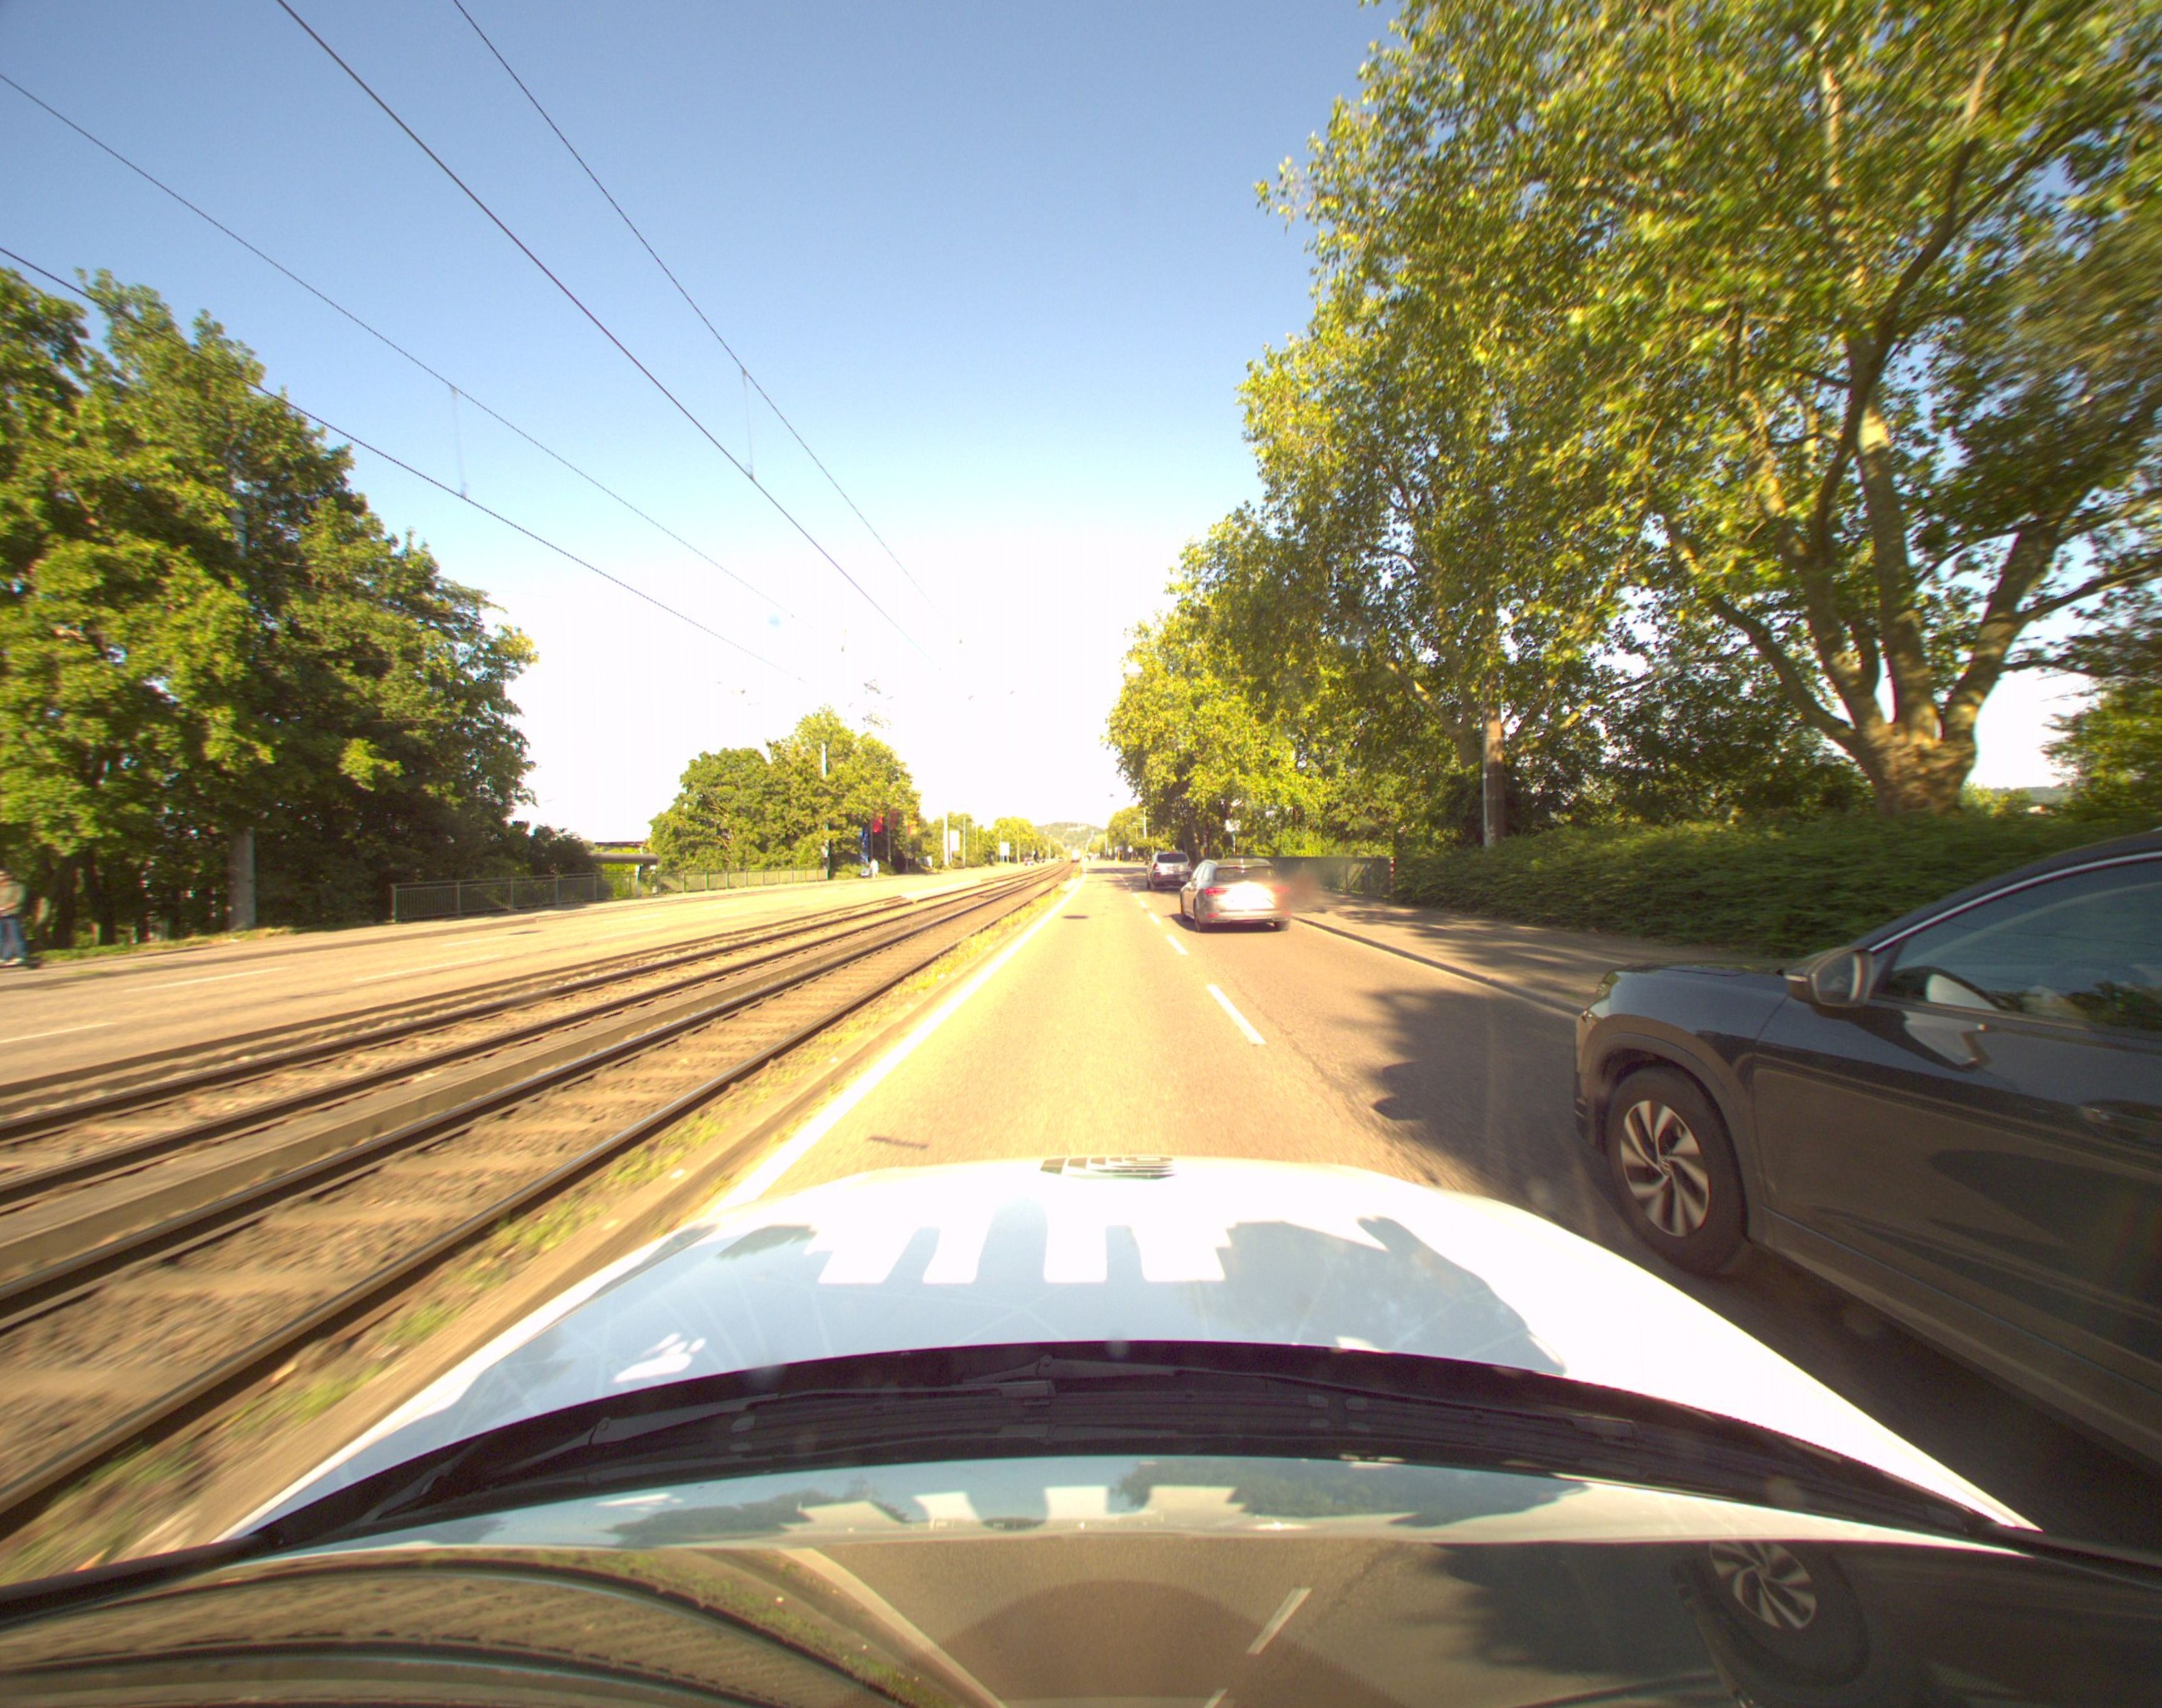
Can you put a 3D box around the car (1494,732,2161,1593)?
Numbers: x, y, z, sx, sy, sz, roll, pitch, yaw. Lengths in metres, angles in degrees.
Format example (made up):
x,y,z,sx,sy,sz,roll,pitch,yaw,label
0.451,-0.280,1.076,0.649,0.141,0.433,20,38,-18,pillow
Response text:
x,y,z,sx,sy,sz,roll,pitch,yaw,label
2.993,0.577,1.884,1.838,1.661,4.440,-1,0,0,car

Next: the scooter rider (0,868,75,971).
x,y,z,sx,sy,sz,roll,pitch,yaw,label
-19.983,1.209,15.373,0.678,1.848,1.003,-2,0,9,scooter rider

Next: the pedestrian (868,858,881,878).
x,y,z,sx,sy,sz,roll,pitch,yaw,label
-18.144,1.254,71.608,0.718,1.756,0.840,1,-1,23,pedestrian

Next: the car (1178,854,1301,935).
x,y,z,sx,sy,sz,roll,pitch,yaw,label
3.225,0.770,17.529,1.859,1.467,4.667,-1,0,2,car

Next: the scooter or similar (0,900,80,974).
x,y,z,sx,sy,sz,roll,pitch,yaw,label
-19.942,1.557,15.352,0.469,1.296,1.265,-2,0,8,scooter or similar

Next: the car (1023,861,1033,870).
x,y,z,sx,sy,sz,roll,pitch,yaw,label
-11.181,2.367,172.759,1.856,1.720,4.000,-1,0,1,car

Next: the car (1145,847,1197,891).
x,y,z,sx,sy,sz,roll,pitch,yaw,label
3.875,0.614,35.684,1.877,1.795,4.000,1,0,0,car

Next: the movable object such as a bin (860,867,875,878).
x,y,z,sx,sy,sz,roll,pitch,yaw,label
-18.524,1.627,70.705,0.718,0.961,1.107,1,-1,23,movable object such as a bin

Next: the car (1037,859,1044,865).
x,y,z,sx,sy,sz,roll,pitch,yaw,label
-11.670,2.336,233.917,1.900,1.644,3.998,1,0,-2,car
